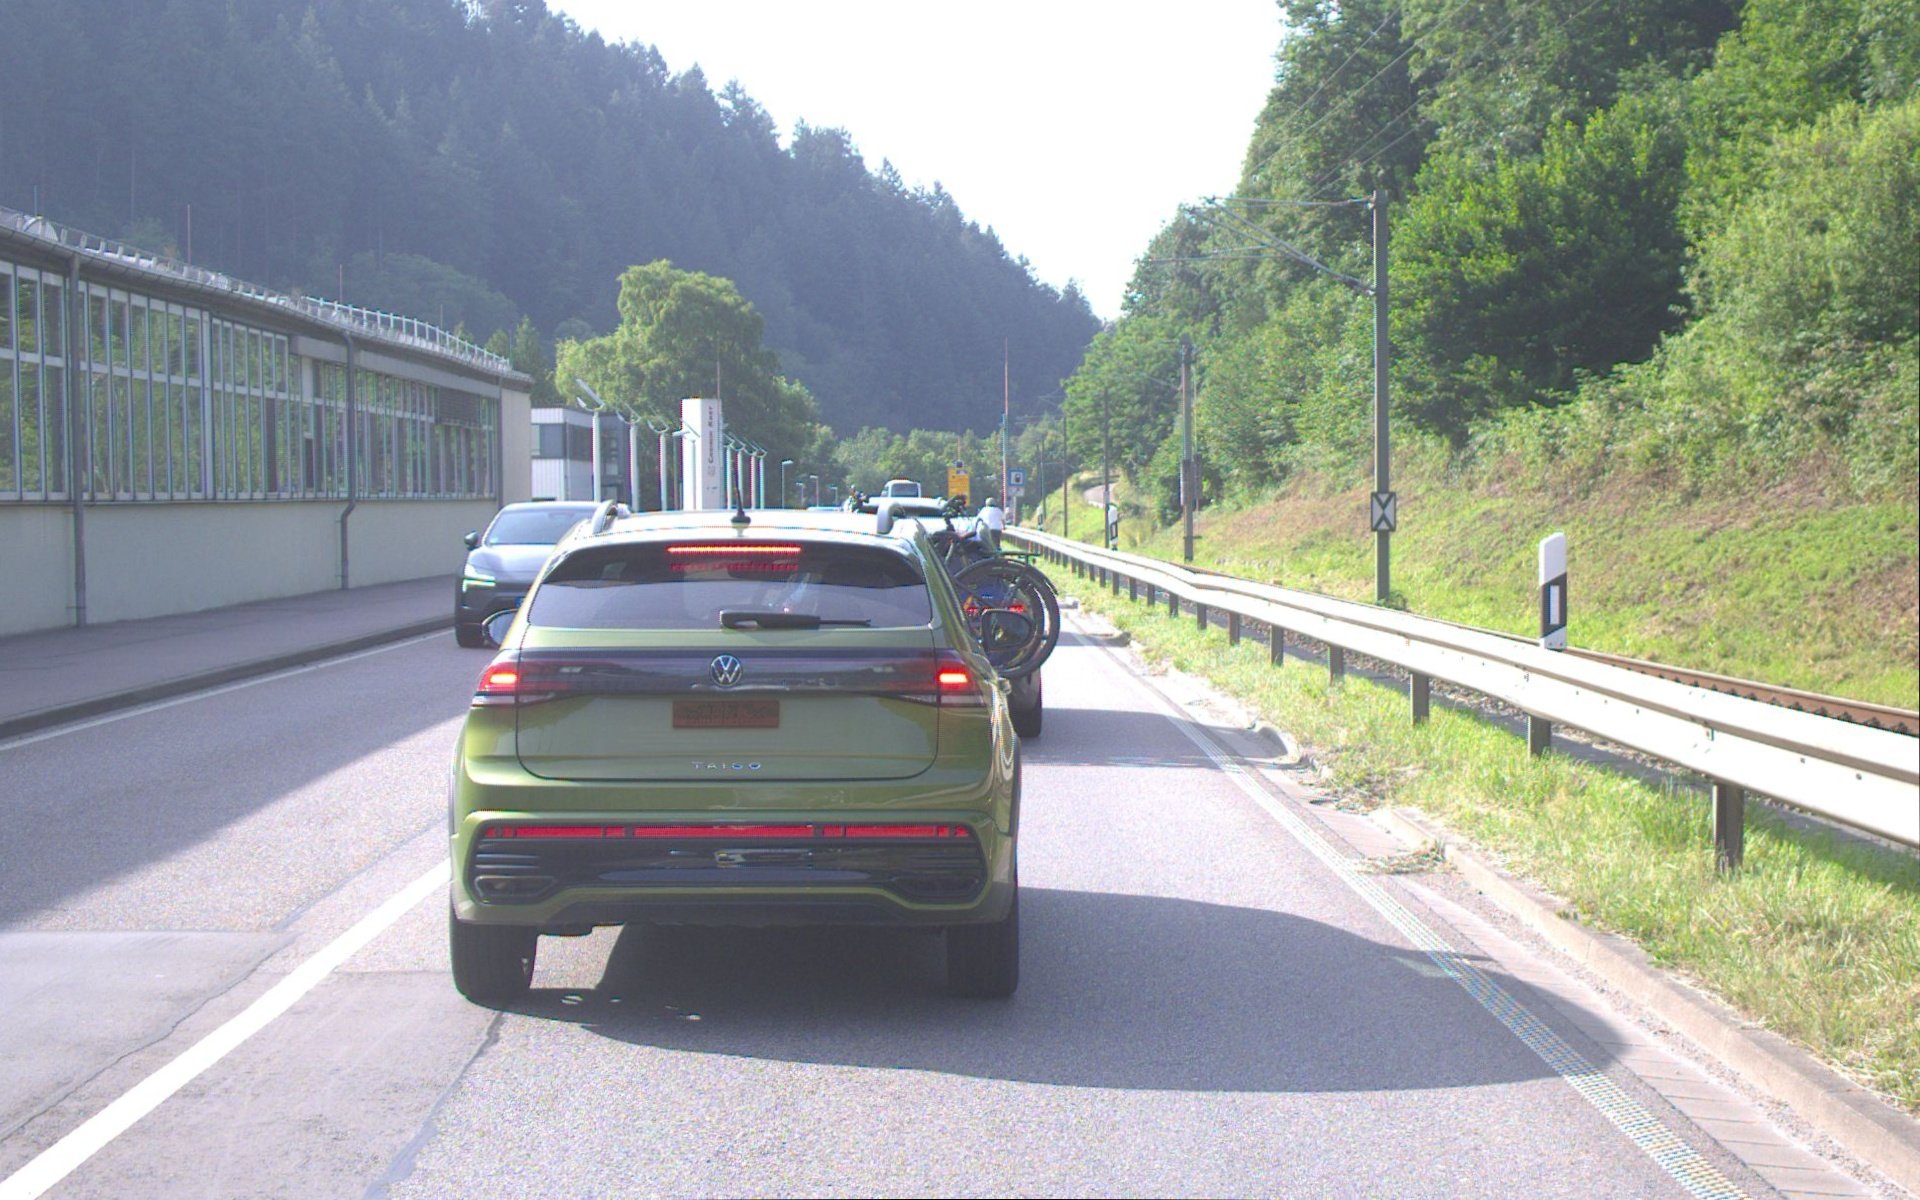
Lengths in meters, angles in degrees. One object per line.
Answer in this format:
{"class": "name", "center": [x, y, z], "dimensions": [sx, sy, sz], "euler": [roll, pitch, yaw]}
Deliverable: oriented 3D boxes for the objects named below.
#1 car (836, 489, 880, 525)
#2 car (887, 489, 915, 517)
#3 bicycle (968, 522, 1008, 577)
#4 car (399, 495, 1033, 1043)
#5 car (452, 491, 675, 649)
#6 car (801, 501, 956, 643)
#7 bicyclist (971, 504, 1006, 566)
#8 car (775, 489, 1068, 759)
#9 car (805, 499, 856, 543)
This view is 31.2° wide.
{"class": "car", "center": [-4.319, -3.957, 146.066], "dimensions": [1.773, 1.485, 4.052], "euler": [2, 2, -1]}
{"class": "car", "center": [-4.498, -7.374, 261.519], "dimensions": [1.993, 2.007, 4.000], "euler": [1, 1, -1]}
{"class": "bicycle", "center": [0.643, -1.182, 79.315], "dimensions": [0.811, 1.246, 2.123], "euler": [0, 1, -2]}
{"class": "car", "center": [-0.725, 0.419, 11.502], "dimensions": [1.739, 1.503, 4.001], "euler": [1, 1, -1]}
{"class": "car", "center": [-4.298, -0.369, 37.883], "dimensions": [1.930, 1.576, 4.458], "euler": [2, 1, 0]}
{"class": "car", "center": [-0.980, -0.368, 41.117], "dimensions": [1.739, 1.596, 4.001], "euler": [1, 1, -1]}
{"class": "bicyclist", "center": [0.651, -1.503, 79.366], "dimensions": [0.781, 1.407, 0.675], "euler": [0, 1, -2]}
{"class": "car", "center": [-0.282, 0.095, 22.662], "dimensions": [1.739, 1.596, 4.001], "euler": [1, 1, -1]}
{"class": "car", "center": [-4.732, -2.902, 125.808], "dimensions": [1.719, 1.509, 4.199], "euler": [2, 2, -1]}
